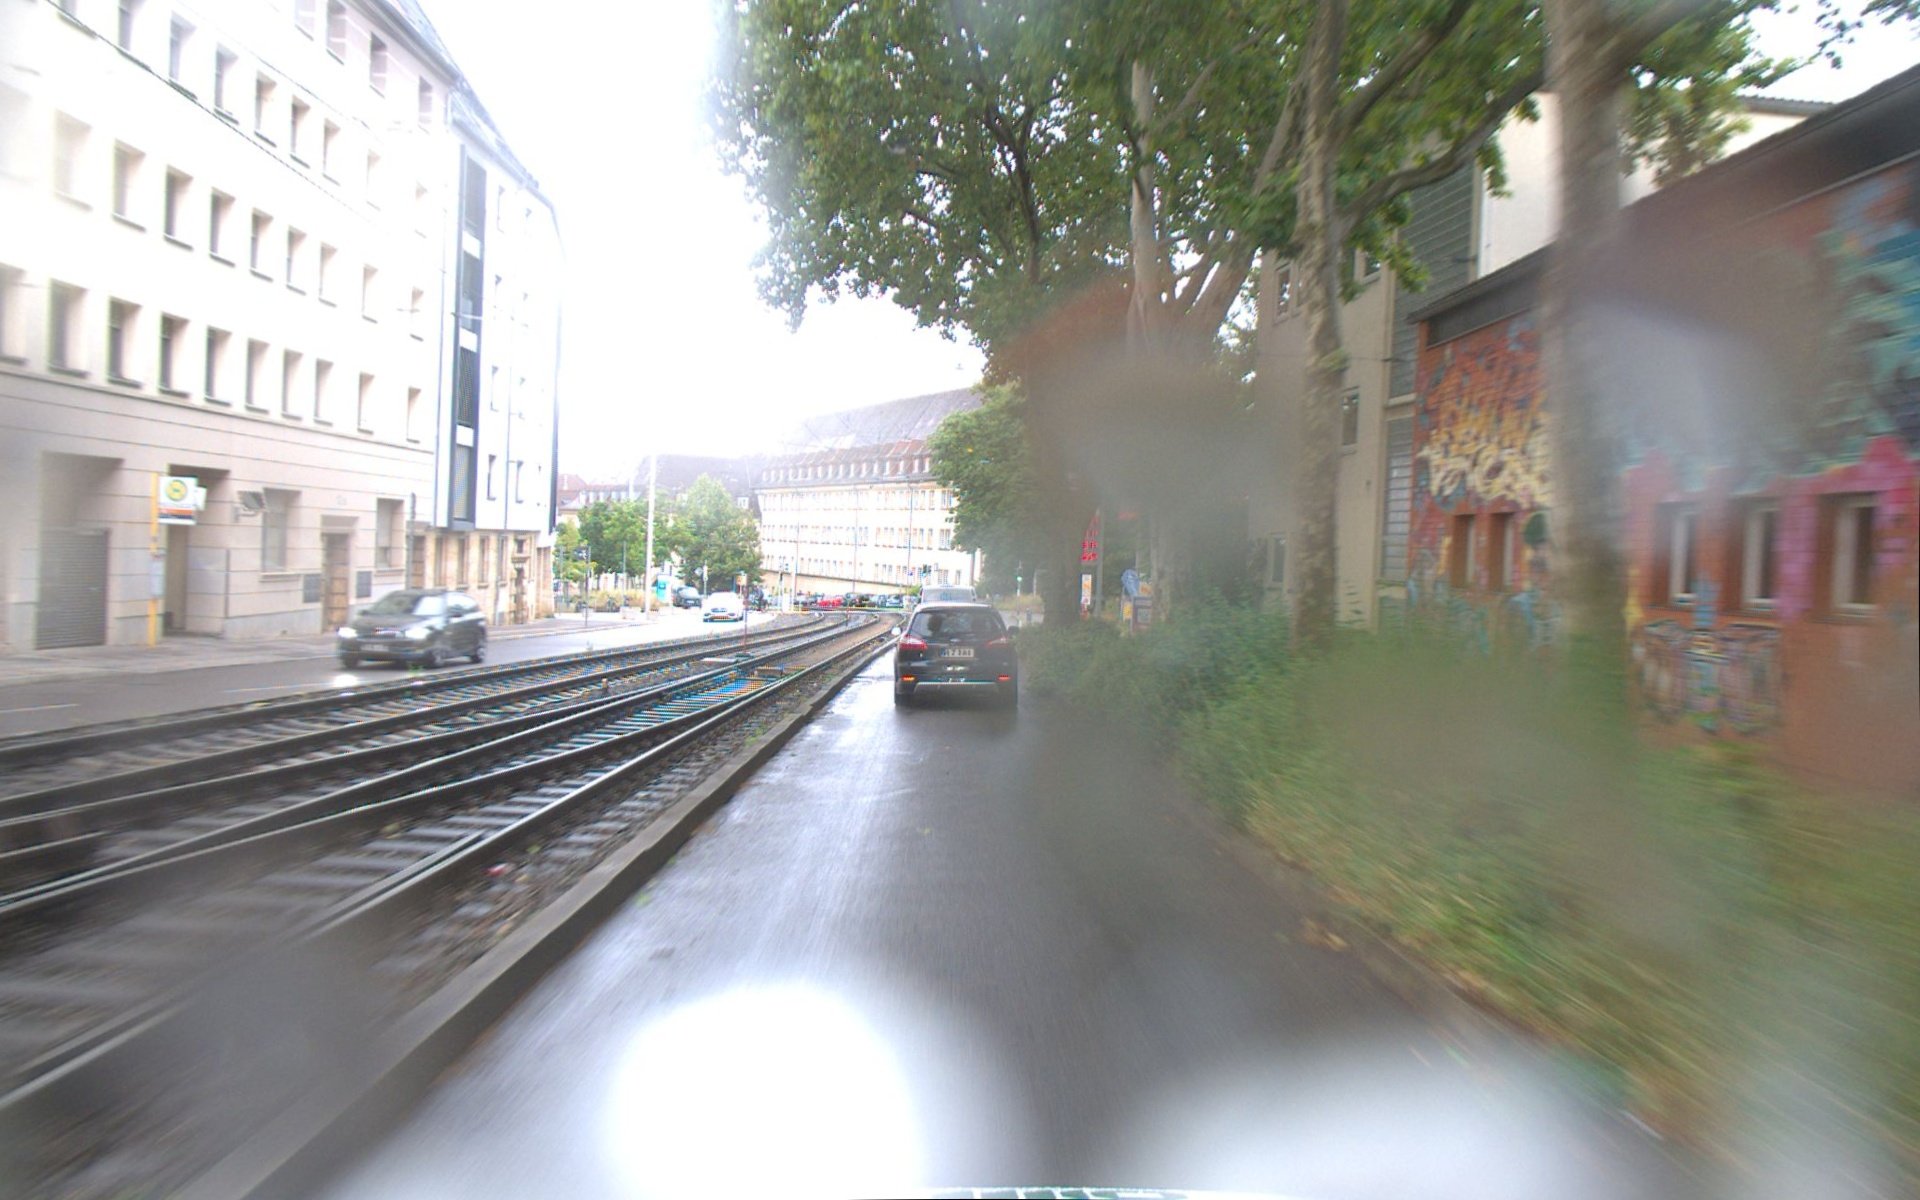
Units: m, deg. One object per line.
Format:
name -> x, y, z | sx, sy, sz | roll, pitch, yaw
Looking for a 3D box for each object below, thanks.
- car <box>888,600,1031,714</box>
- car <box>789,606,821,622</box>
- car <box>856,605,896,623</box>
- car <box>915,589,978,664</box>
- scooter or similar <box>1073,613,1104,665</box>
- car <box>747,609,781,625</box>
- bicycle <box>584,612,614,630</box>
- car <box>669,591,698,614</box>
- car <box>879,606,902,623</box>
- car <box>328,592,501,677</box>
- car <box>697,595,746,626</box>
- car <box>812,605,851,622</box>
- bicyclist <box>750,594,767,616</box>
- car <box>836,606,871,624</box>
car -> -0.070, 0.814, 24.862 | 1.894, 1.478, 4.315 | 3, -1, -2
car -> -15.725, 1.393, 167.719 | 1.971, 1.569, 3.963 | 1, 0, -28
car -> -7.831, 1.282, 153.883 | 1.977, 1.569, 3.951 | 3, -1, -35
car -> -0.394, 0.764, 48.118 | 1.705, 2.049, 3.903 | 2, -1, -1
scooter or similar -> 3.212, 0.973, 41.241 | 0.365, 1.256, 1.370 | 0, -3, 21
car -> -20.783, 1.780, 175.164 | 1.976, 1.569, 3.953 | 2, -1, -33
bicycle -> -23.249, 1.345, 106.594 | 1.777, 1.079, 0.570 | 2, -1, -4
car -> -20.290, 0.176, 121.184 | 1.957, 1.569, 3.990 | 2, -1, -10
car -> -6.331, 1.327, 150.222 | 1.627, 1.502, 3.635 | 2, -1, -10
car -> -10.760, 0.649, 33.022 | 1.842, 1.512, 4.853 | 2, 0, -1
car -> -12.355, 0.546, 85.901 | 1.762, 1.508, 4.839 | 2, -1, 0
car -> -12.706, 1.365, 163.064 | 1.978, 1.569, 3.948 | 3, -1, -37
bicyclist -> -12.601, 0.298, 103.414 | 0.766, 1.336, 0.780 | 1, -1, -38
car -> -10.235, 1.414, 158.831 | 1.567, 1.569, 3.951 | 3, -1, -35
